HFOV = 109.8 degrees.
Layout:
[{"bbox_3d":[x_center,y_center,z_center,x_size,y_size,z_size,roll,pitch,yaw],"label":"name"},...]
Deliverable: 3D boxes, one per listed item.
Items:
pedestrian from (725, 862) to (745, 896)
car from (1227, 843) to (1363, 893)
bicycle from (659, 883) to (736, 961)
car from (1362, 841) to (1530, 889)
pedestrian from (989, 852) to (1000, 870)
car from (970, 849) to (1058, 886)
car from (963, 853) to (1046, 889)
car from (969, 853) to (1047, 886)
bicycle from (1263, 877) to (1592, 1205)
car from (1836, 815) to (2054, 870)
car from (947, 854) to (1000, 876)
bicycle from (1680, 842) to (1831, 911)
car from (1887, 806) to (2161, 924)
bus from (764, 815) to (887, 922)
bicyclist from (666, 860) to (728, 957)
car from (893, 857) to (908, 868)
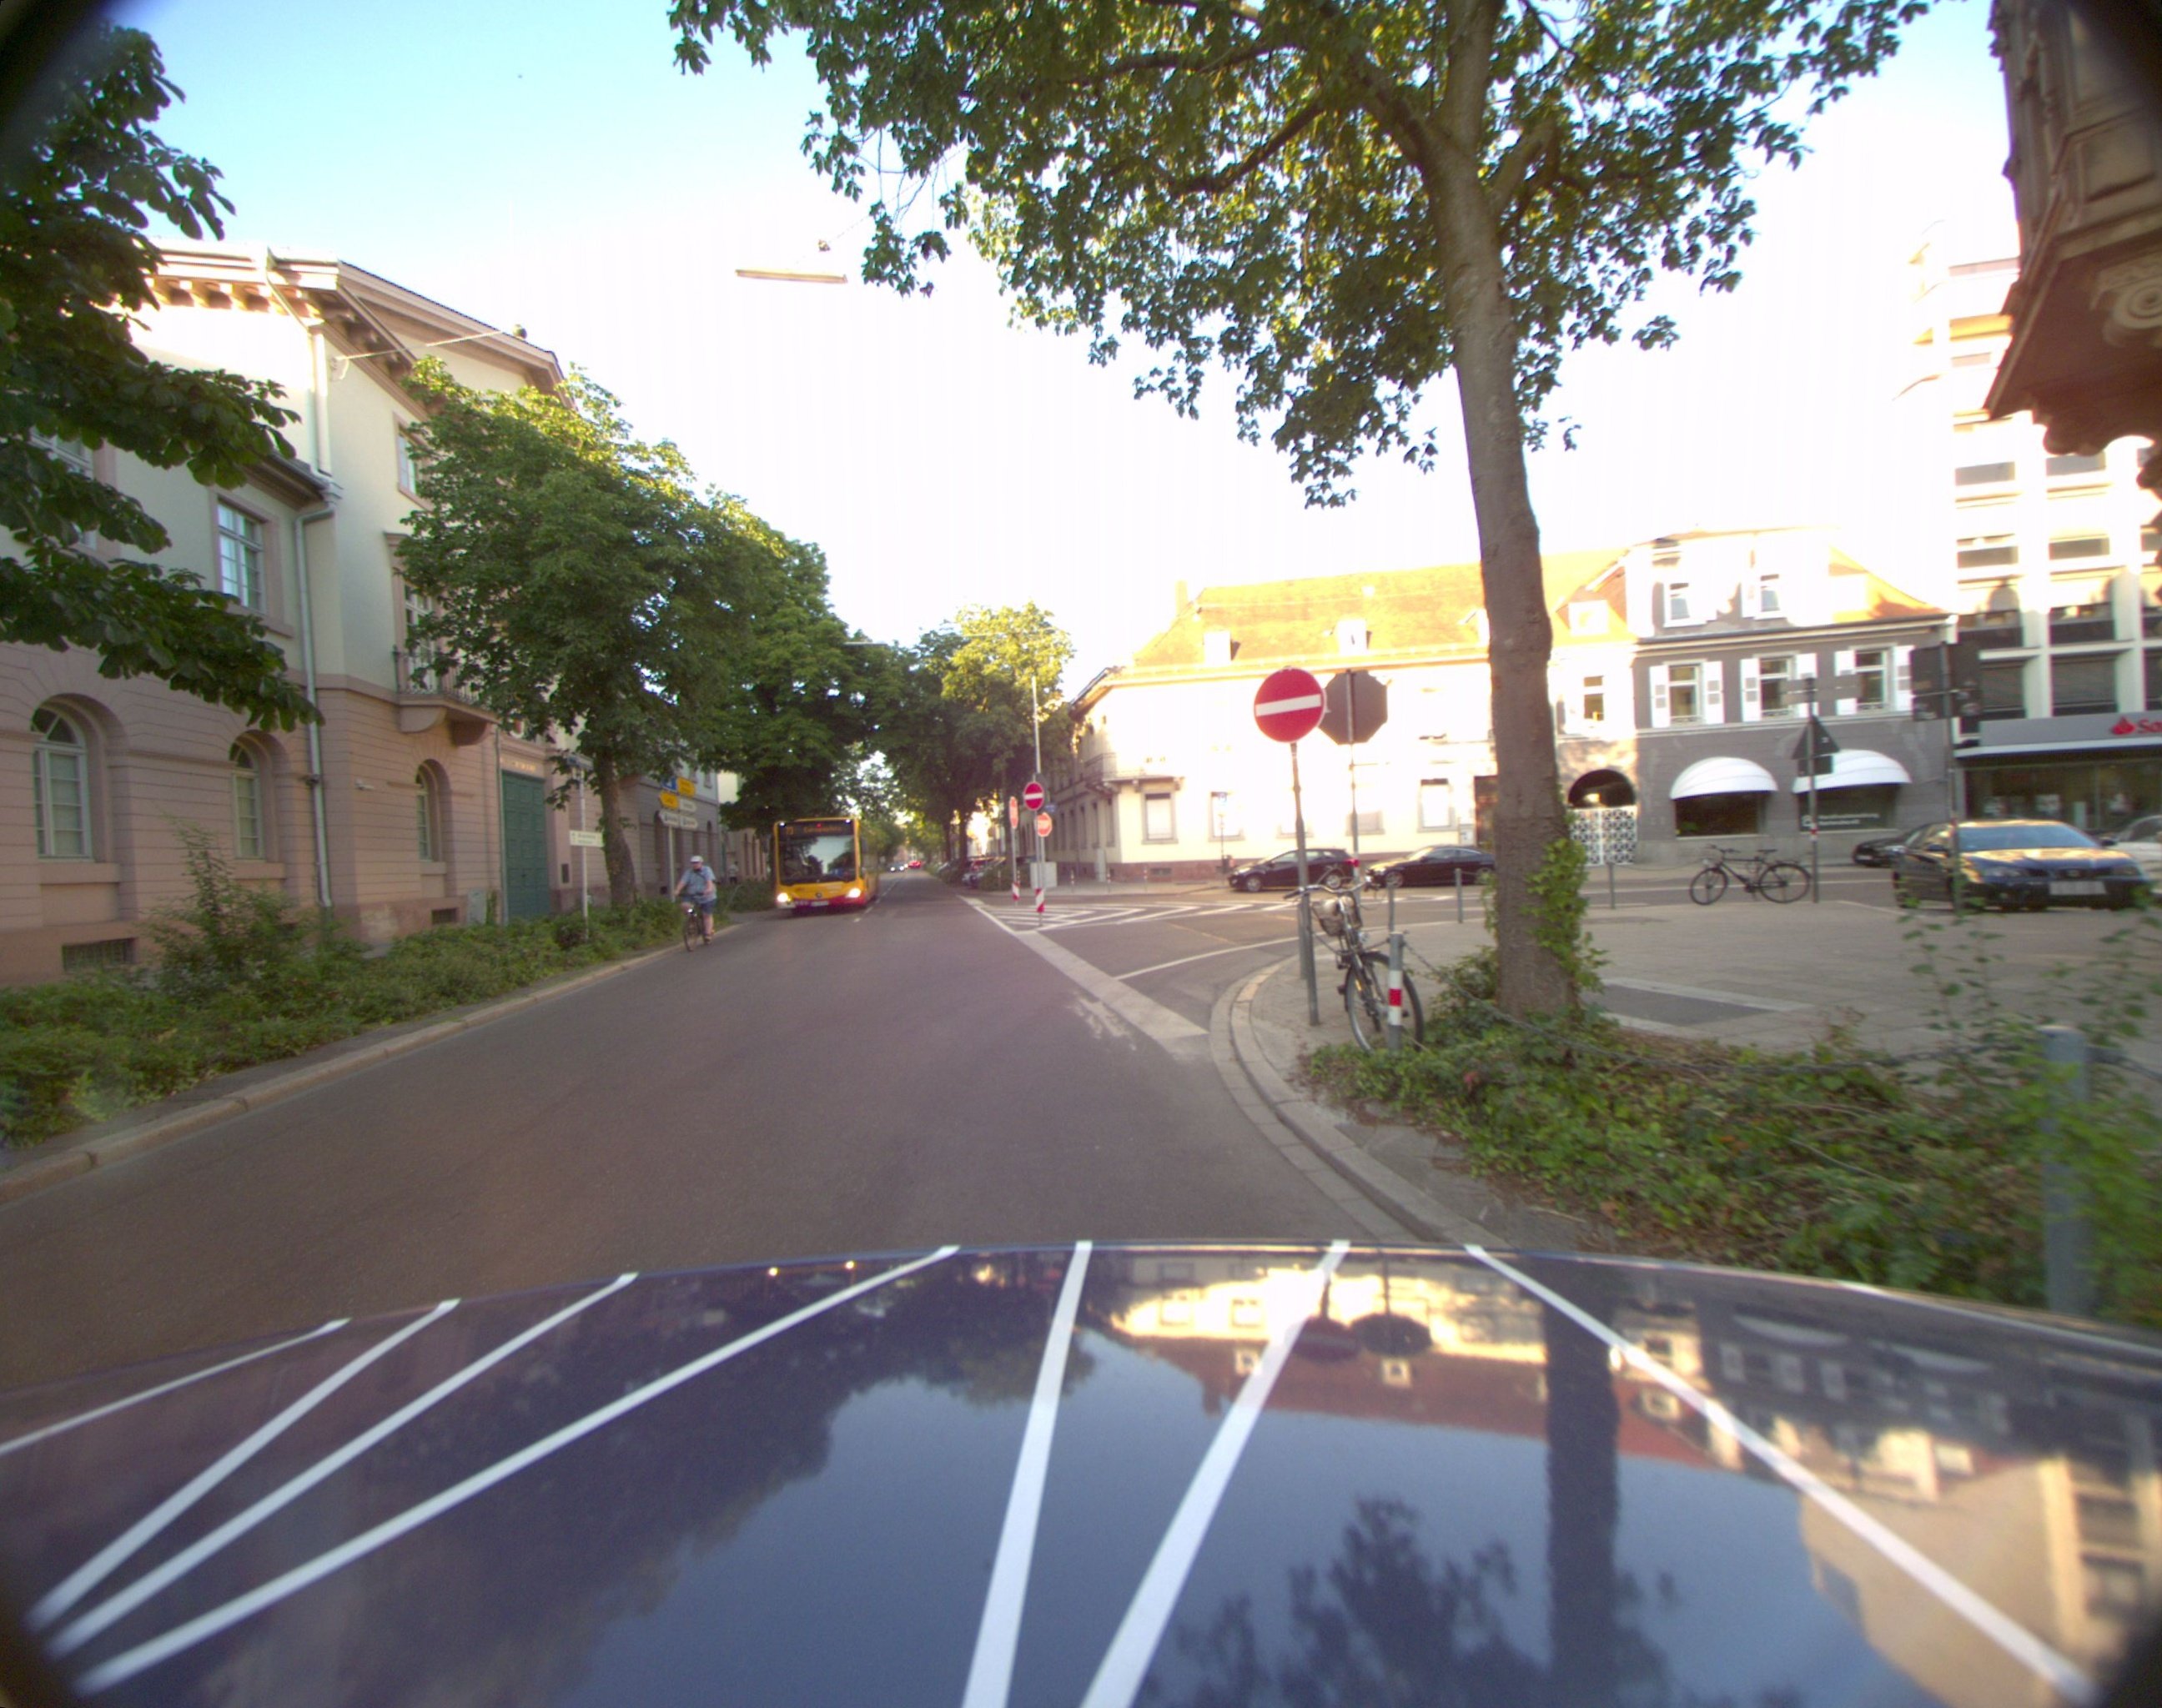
[{"bbox_3d":[-19.305,1.367,42.442,0.801,1.821,0.928,-3,1,-14],"label":"pedestrian"},{"bbox_3d":[7.461,0.493,26.876,4.424,1.532,1.809,-2,0,11],"label":"car"},{"bbox_3d":[-7.671,1.320,15.299,0.784,1.322,2.076,-5,1,-12],"label":"bicycle"},{"bbox_3d":[12.289,0.369,25.884,4.849,1.386,1.780,-2,0,12],"label":"car"},{"bbox_3d":[-8.485,0.688,74.773,0.895,1.760,1.020,-3,1,-13],"label":"pedestrian"},{"bbox_3d":[-3.283,0.639,36.995,4.001,1.606,1.826,-2,1,-14],"label":"car"},{"bbox_3d":[-3.986,0.854,39.293,4.001,1.606,1.721,-3,1,-14],"label":"car"},{"bbox_3d":[-4.018,0.814,41.774,4.001,1.606,1.721,-3,1,-14],"label":"car"},{"bbox_3d":[1.740,0.821,4.430,0.845,1.260,2.573,-2,0,3],"label":"bicycle"},{"bbox_3d":[26.520,-0.339,23.480,4.243,1.438,1.749,-2,0,11],"label":"car"},{"bbox_3d":[-8.679,0.868,61.222,4.001,1.606,1.721,-3,1,-14],"label":"car"},{"bbox_3d":[11.879,0.414,13.452,1.800,1.119,0.729,-3,-2,19],"label":"bicycle"},{"bbox_3d":[13.876,0.208,11.347,1.736,1.452,3.872,-2,-3,35],"label":"car"},{"bbox_3d":[-9.080,0.440,28.476,2.713,2.983,12.069,-4,1,-12],"label":"bus"},{"bbox_3d":[-7.683,1.057,15.257,0.784,1.829,0.826,-5,1,-12],"label":"bicyclist"},{"bbox_3d":[-29.153,1.401,122.653,2.083,1.687,3.996,-2,0,-11],"label":"car"}]
